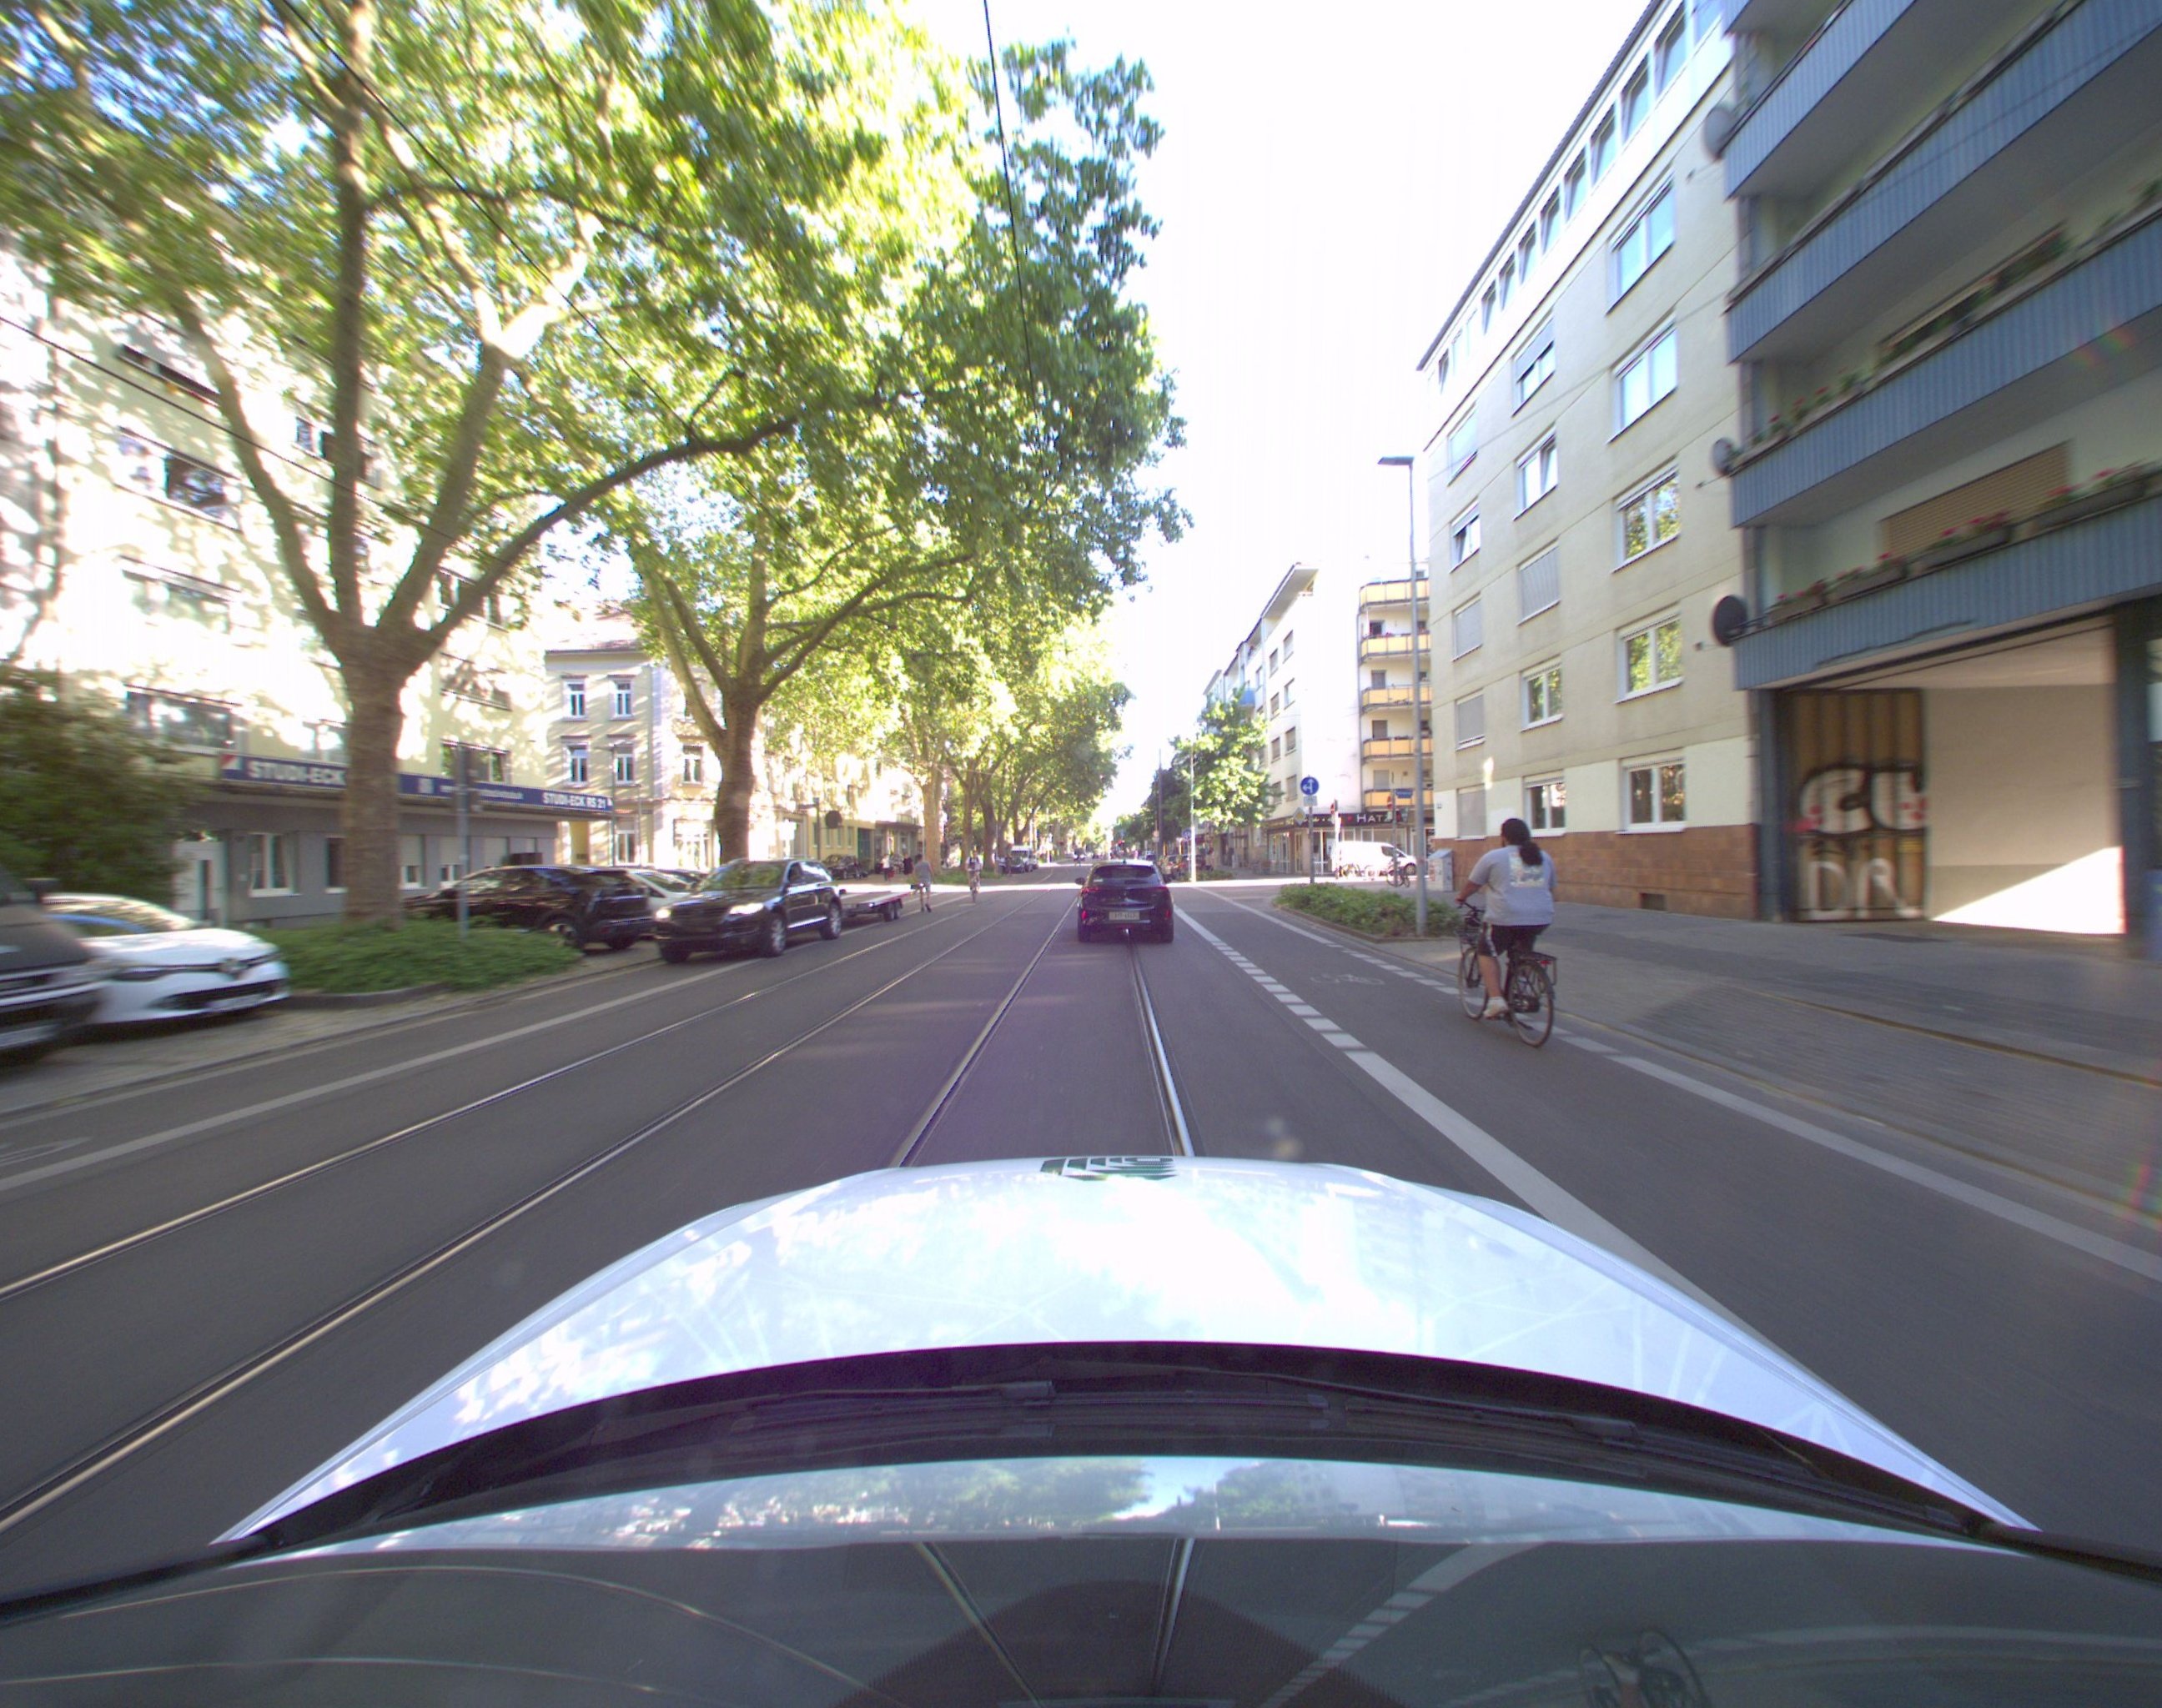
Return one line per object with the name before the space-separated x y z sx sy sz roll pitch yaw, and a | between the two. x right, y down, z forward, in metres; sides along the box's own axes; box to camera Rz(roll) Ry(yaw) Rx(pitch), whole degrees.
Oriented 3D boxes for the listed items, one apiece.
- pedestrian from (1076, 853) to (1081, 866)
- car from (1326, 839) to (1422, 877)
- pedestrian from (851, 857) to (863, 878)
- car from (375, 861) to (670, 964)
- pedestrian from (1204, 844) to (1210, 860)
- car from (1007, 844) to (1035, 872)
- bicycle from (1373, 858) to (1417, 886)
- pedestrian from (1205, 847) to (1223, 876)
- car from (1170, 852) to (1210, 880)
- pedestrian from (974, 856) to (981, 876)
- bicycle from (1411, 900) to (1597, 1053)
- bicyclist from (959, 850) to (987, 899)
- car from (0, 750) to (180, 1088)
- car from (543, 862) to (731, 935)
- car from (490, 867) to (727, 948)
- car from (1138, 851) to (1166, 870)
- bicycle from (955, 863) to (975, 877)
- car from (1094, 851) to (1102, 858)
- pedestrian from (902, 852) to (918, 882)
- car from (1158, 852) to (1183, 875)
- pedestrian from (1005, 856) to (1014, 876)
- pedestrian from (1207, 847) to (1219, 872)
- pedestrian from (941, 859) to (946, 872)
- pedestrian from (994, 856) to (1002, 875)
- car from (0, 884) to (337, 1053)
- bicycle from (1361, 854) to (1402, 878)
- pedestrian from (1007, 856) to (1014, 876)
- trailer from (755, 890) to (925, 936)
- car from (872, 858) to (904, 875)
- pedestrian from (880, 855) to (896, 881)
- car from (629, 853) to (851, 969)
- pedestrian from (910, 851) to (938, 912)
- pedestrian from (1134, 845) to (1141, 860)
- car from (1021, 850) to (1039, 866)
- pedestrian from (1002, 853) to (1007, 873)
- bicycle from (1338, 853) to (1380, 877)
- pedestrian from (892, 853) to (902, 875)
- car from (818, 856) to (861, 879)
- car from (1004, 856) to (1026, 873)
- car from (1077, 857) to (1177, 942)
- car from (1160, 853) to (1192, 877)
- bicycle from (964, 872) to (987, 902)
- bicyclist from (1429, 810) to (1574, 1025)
pedestrian | -0.320 0.677 104.374 0.594 1.590 0.891 -2 0 -5
car | 15.539 0.198 43.357 4.348 1.831 1.998 -1 0 -2
pedestrian | -15.507 0.917 56.335 0.549 1.403 0.650 -2 0 5
car | -9.932 0.997 14.726 3.974 1.647 1.894 -1 0 0
pedestrian | 13.871 -0.263 89.479 0.626 1.732 0.633 -2 0 8
car | -5.953 0.364 81.632 2.084 2.584 5.999 -1 0 1
bicycle | 12.110 0.673 31.461 0.801 1.015 1.966 -2 0 -4
pedestrian | 7.591 0.441 46.538 0.848 1.616 0.774 -2 0 20
car | 6.486 0.671 48.930 1.714 1.574 4.081 -1 0 -2
pedestrian | -8.377 0.976 65.895 0.507 1.583 0.525 -1 0 -12
bicycle | 3.723 1.016 7.384 0.698 1.092 1.990 0 -1 1
bicyclist | -3.785 0.704 28.662 0.781 1.678 0.958 -2 0 1
car | -10.677 0.552 6.285 4.930 2.567 2.081 -1 0 -2
car | -10.462 1.020 19.379 3.421 1.530 1.786 -1 0 -2
car | -9.974 1.102 17.401 3.974 1.522 1.771 -1 0 0
car | 6.361 0.559 73.279 1.988 1.640 3.997 -1 0 -2
bicycle | -9.360 1.267 65.681 1.674 1.062 0.455 0 -1 31
car | 4.191 0.064 200.799 1.742 1.651 4.004 -1 0 3
pedestrian | -11.023 0.844 52.429 0.903 1.869 0.643 -1 0 -4
car | 6.405 0.672 58.635 1.644 1.574 3.086 -1 0 3
pedestrian | -5.829 0.966 66.353 0.681 1.583 0.557 -1 0 0
pedestrian | 9.606 0.398 59.379 0.789 1.748 0.771 -1 0 4
pedestrian | -16.277 1.351 96.612 0.505 1.583 0.526 -1 0 -1
pedestrian | -6.700 0.923 65.674 0.505 1.583 0.526 -1 0 -2
car | -10.620 1.137 8.551 3.841 1.478 1.860 -1 0 0
bicycle | 14.395 0.573 39.048 1.759 1.117 0.616 -2 0 14
pedestrian | -5.684 0.996 65.658 0.505 1.583 0.527 -1 0 1
trailer | -5.718 1.392 20.421 2.152 0.632 6.402 -1 0 2
car | -16.594 1.072 70.170 1.689 1.276 3.829 -1 0 2
pedestrian | -12.338 0.869 52.062 0.845 1.632 0.643 -1 0 -4
car | -5.970 0.888 14.984 1.986 1.700 4.486 -3 0 2
pedestrian | -4.646 0.789 24.080 0.712 1.735 0.909 -3 0 -13
pedestrian | 8.164 -0.174 117.725 0.853 2.013 1.070 -6 -1 2
car | -5.825 0.411 92.622 1.989 1.717 3.995 -2 0 -4
pedestrian | -6.163 0.725 65.747 0.345 1.583 0.508 -1 0 0
bicycle | 13.695 0.545 40.217 1.827 1.117 0.704 -2 0 4
pedestrian | -14.203 0.751 62.838 0.549 1.652 0.650 -2 0 5
car | -17.033 0.935 57.563 1.675 1.517 4.003 0 0 2
car | -6.050 0.927 75.293 1.749 1.508 3.997 -2 0 -2
car | 0.820 0.769 15.428 1.673 1.422 3.628 0 0 1
car | 6.296 0.699 54.476 1.712 1.490 3.681 -1 0 0
bicycle | -3.716 1.132 28.695 0.519 0.962 1.929 -2 0 0
bicyclist | 3.657 0.526 7.172 0.784 1.759 0.915 -1 0 1
